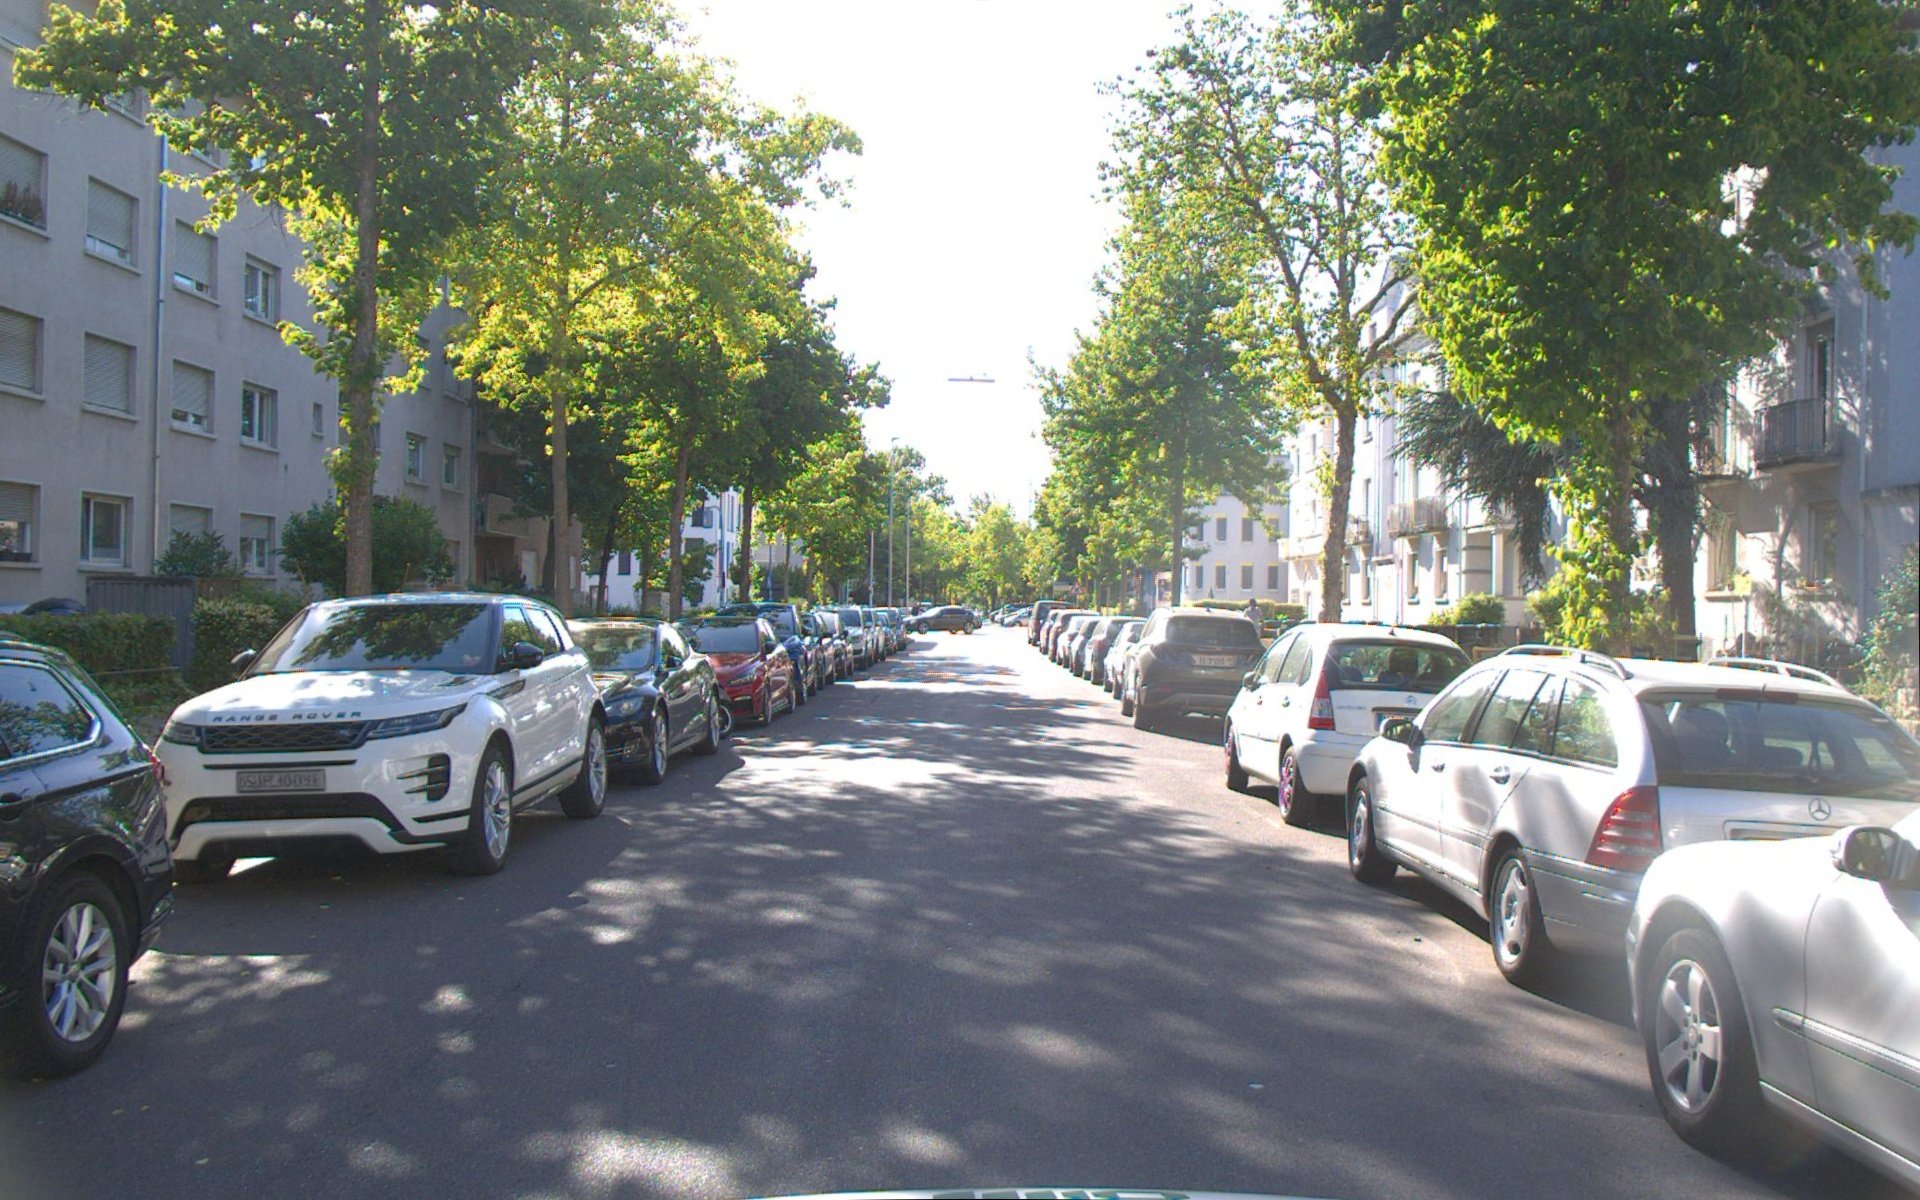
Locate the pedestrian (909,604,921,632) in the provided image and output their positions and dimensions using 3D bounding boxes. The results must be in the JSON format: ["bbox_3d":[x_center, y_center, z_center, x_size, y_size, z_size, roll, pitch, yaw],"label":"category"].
[{"bbox_3d":[-3.103,1.251,113.887,0.702,1.933,0.835,1,-1,-9],"label":"pedestrian"}]

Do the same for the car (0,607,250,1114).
[{"bbox_3d":[-3.652,0.778,4.106,1.693,1.472,4.820,-1,0,0],"label":"car"}]

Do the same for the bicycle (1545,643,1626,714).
[{"bbox_3d":[9.441,1.163,25.029,0.569,0.992,1.904,0,0,2],"label":"bicycle"}]

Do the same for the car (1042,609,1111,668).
[{"bbox_3d":[3.717,1.205,53.412,1.868,1.728,4.313,4,0,0],"label":"car"}]

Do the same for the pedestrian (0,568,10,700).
[{"bbox_3d":[-14.565,0.493,24.180,0.765,1.947,0.877,0,-1,27],"label":"pedestrian"}]

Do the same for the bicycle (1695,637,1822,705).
[{"bbox_3d":[13.495,1.198,27.996,1.857,1.119,0.583,0,-1,3],"label":"bicycle"}]

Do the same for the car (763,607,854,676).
[{"bbox_3d":[-3.409,0.922,37.815,1.726,1.469,3.908,-1,-1,0],"label":"car"}]

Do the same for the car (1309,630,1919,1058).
[{"bbox_3d":[3.185,0.942,8.427,1.676,1.435,4.860,3,0,-1],"label":"car"}]

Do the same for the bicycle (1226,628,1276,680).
[{"bbox_3d":[6.985,1.282,39.829,0.670,1.173,2.402,1,-1,-3],"label":"bicycle"}]

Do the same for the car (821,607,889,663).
[{"bbox_3d":[-3.063,1.016,48.950,1.675,1.571,3.930,-1,-1,1],"label":"car"}]

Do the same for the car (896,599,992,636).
[{"bbox_3d":[-0.858,0.946,90.764,5.025,1.854,1.977,2,-1,-34],"label":"car"}]

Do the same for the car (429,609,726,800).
[{"bbox_3d":[-3.493,0.883,16.011,1.693,1.503,4.619,-2,0,1],"label":"car"}]

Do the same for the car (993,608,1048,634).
[{"bbox_3d":[4.431,1.523,121.500,3.907,1.837,1.889,1,0,-2],"label":"car"}]

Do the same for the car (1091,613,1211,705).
[{"bbox_3d":[3.531,1.054,31.251,1.715,1.479,4.462,4,0,1],"label":"car"}]

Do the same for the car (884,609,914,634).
[{"bbox_3d":[-4.309,1.497,117.871,1.952,1.700,4.000,1,0,1],"label":"car"}]

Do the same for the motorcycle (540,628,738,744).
[{"bbox_3d":[-3.788,0.999,19.639,2.244,1.293,0.806,-1,-1,-10],"label":"motorcycle"}]

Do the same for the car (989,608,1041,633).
[{"bbox_3d":[4.263,1.620,128.826,3.907,1.862,1.999,1,0,-2],"label":"car"}]

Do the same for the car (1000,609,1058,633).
[{"bbox_3d":[4.824,1.466,116.279,3.908,1.615,1.726,1,0,-4],"label":"car"}]

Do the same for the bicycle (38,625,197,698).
[{"bbox_3d":[-11.681,0.846,22.951,1.908,0.933,0.514,2,-1,1],"label":"bicycle"}]

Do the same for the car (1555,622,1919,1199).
[{"bbox_3d":[3.065,0.854,3.438,1.784,1.495,4.908,3,0,-1],"label":"car"}]

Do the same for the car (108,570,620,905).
[{"bbox_3d":[-3.508,0.722,10.671,1.693,1.646,4.365,-2,-1,-1],"label":"car"}]

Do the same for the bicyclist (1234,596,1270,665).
[{"bbox_3d":[7.000,0.724,39.657,0.663,1.638,0.921,1,-1,-3],"label":"bicyclist"}]

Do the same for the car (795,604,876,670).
[{"bbox_3d":[-3.203,0.948,43.249,1.774,1.624,4.232,0,-1,0],"label":"car"}]

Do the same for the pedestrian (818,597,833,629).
[{"bbox_3d":[-8.727,0.827,107.389,0.841,2.049,0.981,1,-1,-2],"label":"pedestrian"}]

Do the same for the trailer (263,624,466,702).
[{"bbox_3d":[-8.919,0.908,25.042,1.751,1.052,3.282,1,0,2],"label":"trailer"}]

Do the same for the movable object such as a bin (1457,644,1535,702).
[{"bbox_3d":[9.262,1.246,28.536,1.196,0.920,1.664,1,0,21],"label":"movable object such as a bin"}]

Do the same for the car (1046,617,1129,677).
[{"bbox_3d":[3.572,1.300,47.178,1.859,1.500,4.698,4,-1,-1],"label":"car"}]

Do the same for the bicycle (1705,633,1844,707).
[{"bbox_3d":[12.630,1.083,25.671,1.857,1.119,0.583,0,-1,3],"label":"bicycle"}]

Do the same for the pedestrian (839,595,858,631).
[{"bbox_3d":[-6.432,0.758,95.590,0.841,2.049,0.982,1,-1,9],"label":"pedestrian"}]

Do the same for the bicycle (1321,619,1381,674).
[{"bbox_3d":[9.649,1.128,40.905,0.822,1.279,2.230,2,-1,-3],"label":"bicycle"}]

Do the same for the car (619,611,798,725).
[{"bbox_3d":[-3.360,0.871,22.863,1.743,1.403,4.262,-1,-1,1],"label":"car"}]

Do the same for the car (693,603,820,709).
[{"bbox_3d":[-3.378,0.890,28.118,1.753,1.594,4.463,-2,0,-3],"label":"car"}]

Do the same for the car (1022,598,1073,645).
[{"bbox_3d":[3.851,0.939,73.525,1.930,1.983,4.985,1,-1,0],"label":"car"}]

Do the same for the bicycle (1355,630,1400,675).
[{"bbox_3d":[9.712,1.210,38.503,0.583,0.974,1.903,0,0,1],"label":"bicycle"}]

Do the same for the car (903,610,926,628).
[{"bbox_3d":[-4.230,1.747,154.946,1.952,1.613,4.000,1,0,1],"label":"car"}]

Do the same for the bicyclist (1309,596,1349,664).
[{"bbox_3d":[8.741,0.697,39.232,0.662,1.580,1.021,1,-1,-3],"label":"bicyclist"}]

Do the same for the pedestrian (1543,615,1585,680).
[{"bbox_3d":[11.151,0.874,30.525,0.499,1.162,0.756,2,-1,2],"label":"pedestrian"}]

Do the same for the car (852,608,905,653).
[{"bbox_3d":[-3.102,1.157,63.733,1.802,1.623,4.261,-1,-1,0],"label":"car"}]

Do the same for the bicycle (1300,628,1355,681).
[{"bbox_3d":[8.729,1.276,39.325,0.670,1.173,2.402,1,-1,-3],"label":"bicycle"}]

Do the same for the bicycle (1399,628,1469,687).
[{"bbox_3d":[9.712,1.171,33.955,0.787,1.135,1.999,2,-1,-2],"label":"bicycle"}]

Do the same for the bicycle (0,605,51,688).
[{"bbox_3d":[-13.929,0.655,23.385,0.502,1.173,1.954,1,-1,23],"label":"bicycle"}]

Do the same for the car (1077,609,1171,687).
[{"bbox_3d":[3.587,1.014,36.892,1.658,1.567,4.441,2,0,1],"label":"car"}]

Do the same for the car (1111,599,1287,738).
[{"bbox_3d":[3.298,0.884,23.736,1.886,1.680,5.096,3,0,2],"label":"car"}]

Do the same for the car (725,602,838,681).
[{"bbox_3d":[-3.506,0.790,33.071,1.792,1.478,4.122,0,-1,0],"label":"car"}]

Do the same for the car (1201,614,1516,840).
[{"bbox_3d":[3.224,0.949,14.154,1.621,1.559,3.968,3,0,-1],"label":"car"}]

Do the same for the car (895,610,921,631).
[{"bbox_3d":[-4.157,1.638,133.158,1.952,1.613,4.000,1,0,1],"label":"car"}]

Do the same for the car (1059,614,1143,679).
[{"bbox_3d":[3.490,1.136,41.586,1.752,1.478,3.781,2,-1,0],"label":"car"}]
